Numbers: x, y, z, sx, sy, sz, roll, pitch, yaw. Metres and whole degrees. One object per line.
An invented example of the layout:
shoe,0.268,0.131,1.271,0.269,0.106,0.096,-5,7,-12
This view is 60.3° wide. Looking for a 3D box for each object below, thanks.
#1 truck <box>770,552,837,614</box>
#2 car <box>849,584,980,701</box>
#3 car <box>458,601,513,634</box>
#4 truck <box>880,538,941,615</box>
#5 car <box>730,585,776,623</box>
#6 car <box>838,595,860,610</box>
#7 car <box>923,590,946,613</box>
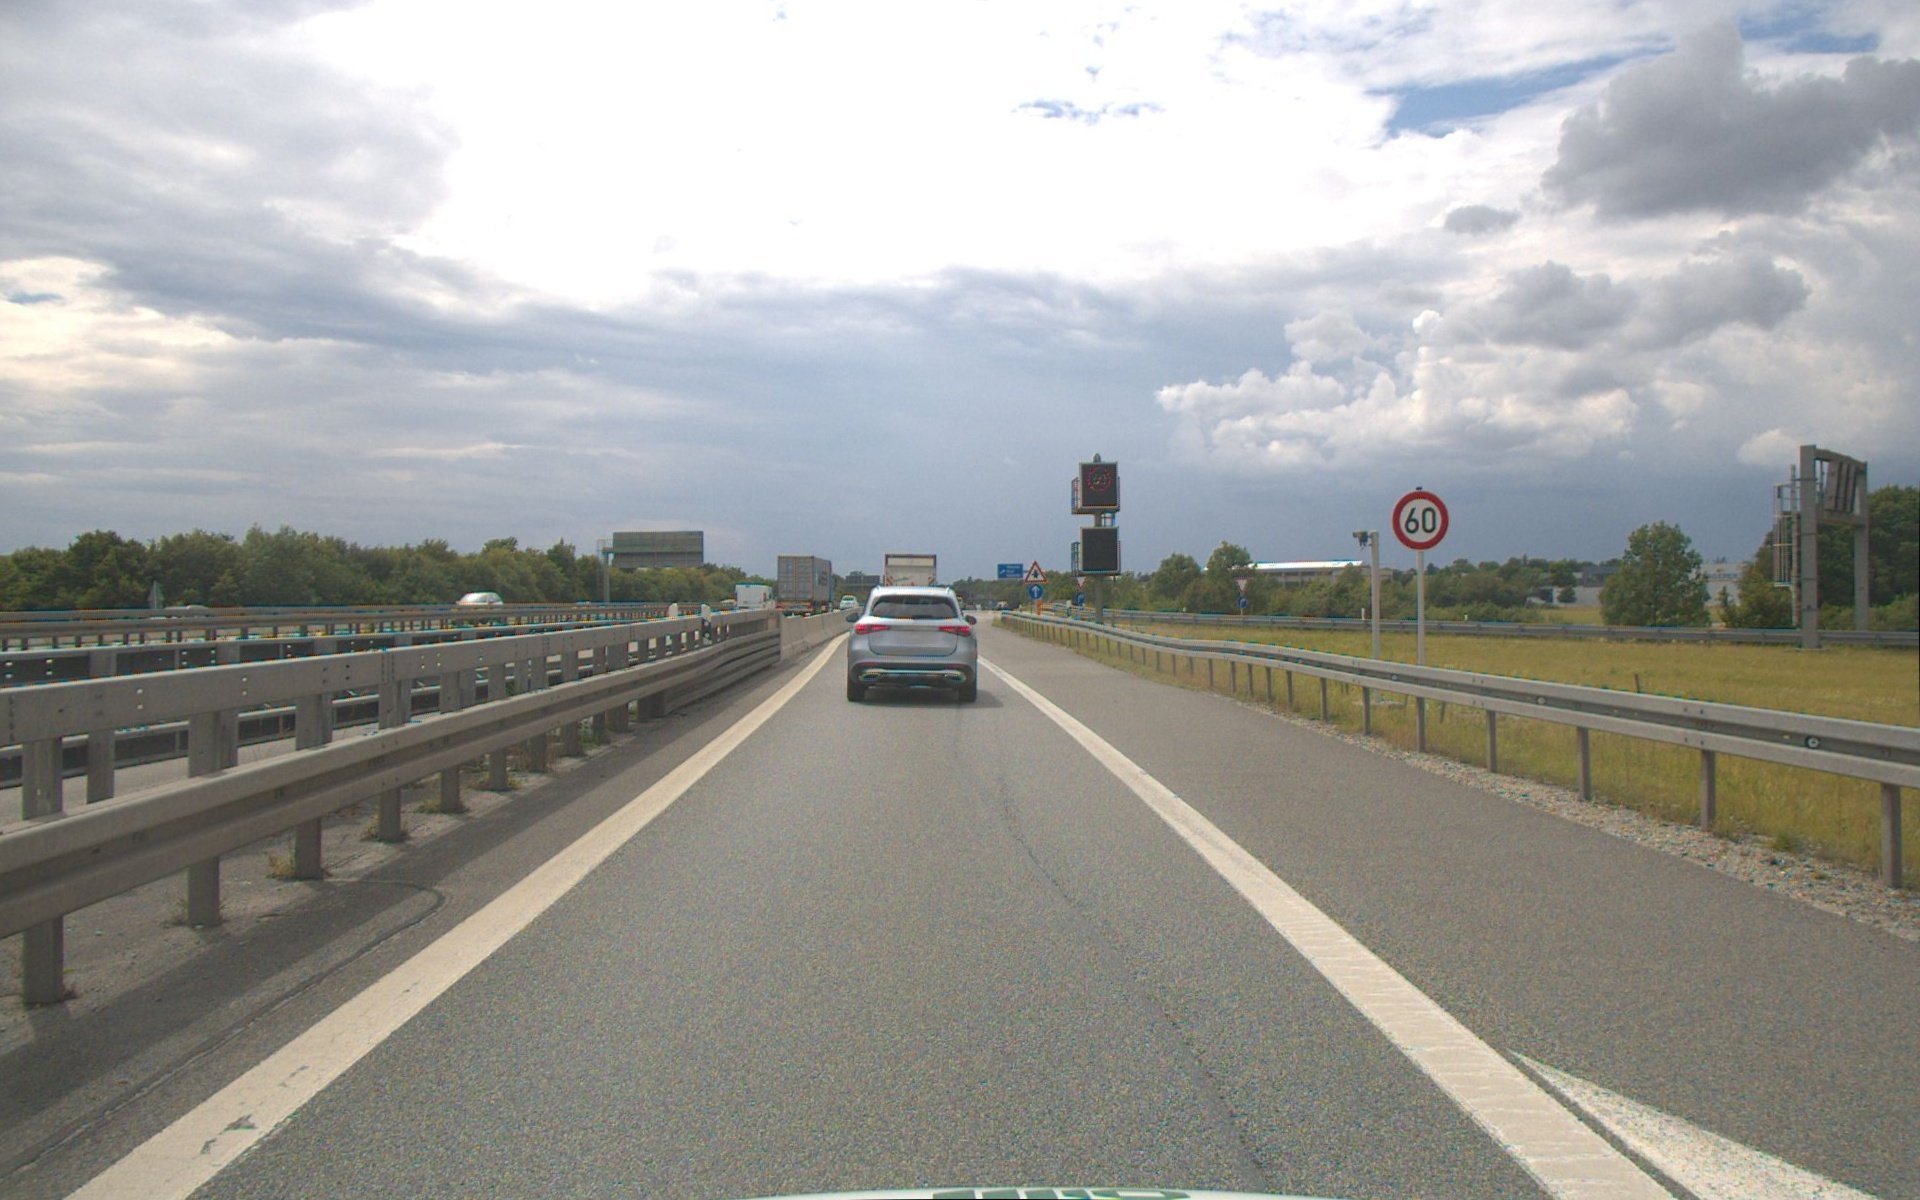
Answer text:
truck,-10.929,-1.301,117.098,3.118,4.089,16.076,1,1,0
car,-0.655,0.567,24.721,1.782,1.541,4.000,1,1,-1
car,-26.460,0.964,92.294,1.708,1.650,4.518,1,1,1
truck,-2.093,-0.983,73.005,2.516,3.180,8.633,1,0,-1
car,-11.815,0.185,94.493,1.952,2.048,4.375,1,1,1
car,-10.514,0.225,157.035,1.661,1.310,4.001,1,1,1
car,-2.379,0.120,156.329,1.952,2.048,4.375,1,1,1
